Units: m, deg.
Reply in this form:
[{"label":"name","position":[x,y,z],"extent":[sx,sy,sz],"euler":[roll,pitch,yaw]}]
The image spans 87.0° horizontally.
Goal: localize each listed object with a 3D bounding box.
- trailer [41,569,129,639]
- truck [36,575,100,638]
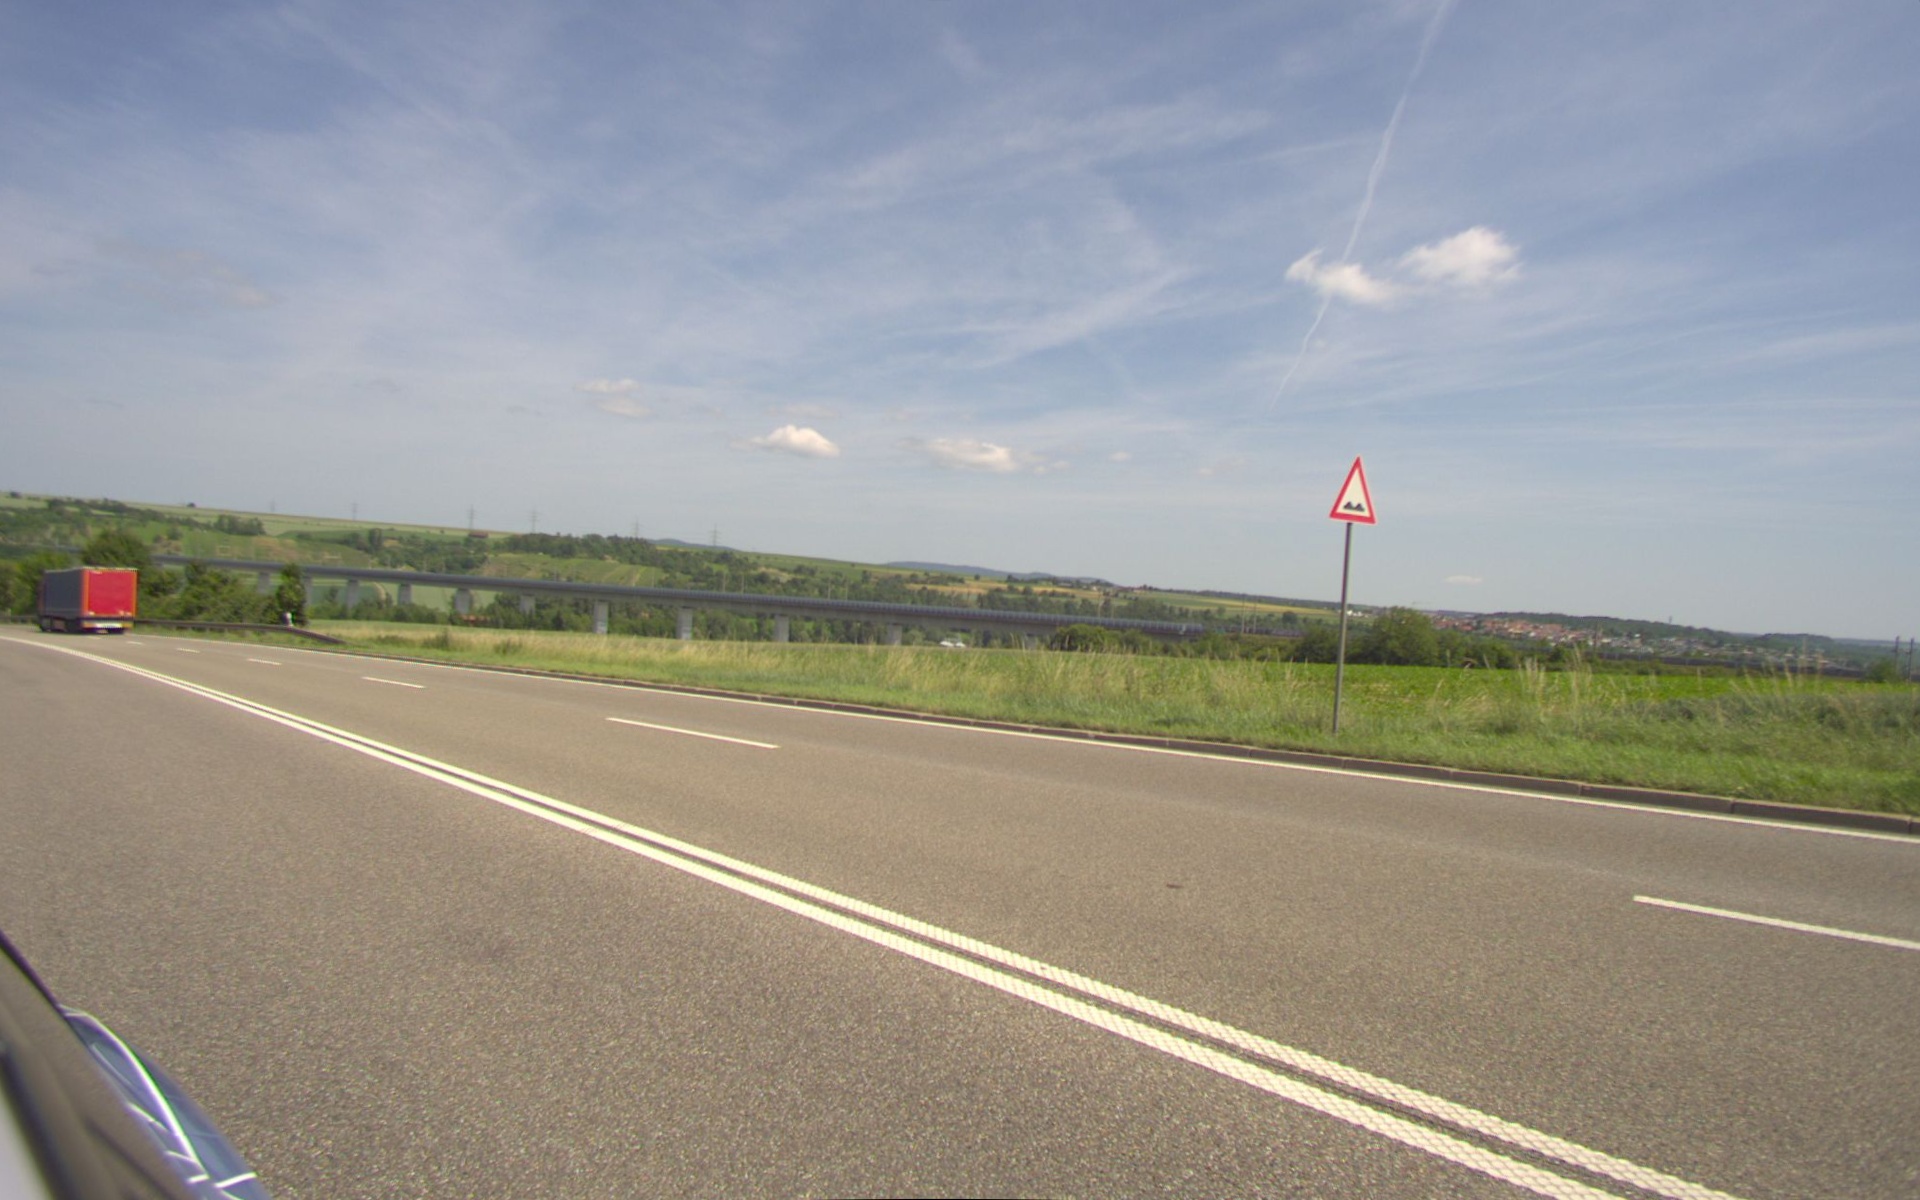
[{"label":"trailer","position":[-56.243,0.339,64.856],"extent":[13.579,4.133,2.518],"euler":[-1,-2,42]},{"label":"truck","position":[-61.276,0.470,69.450],"extent":[6.087,4.133,2.588],"euler":[-1,-2,43]}]
